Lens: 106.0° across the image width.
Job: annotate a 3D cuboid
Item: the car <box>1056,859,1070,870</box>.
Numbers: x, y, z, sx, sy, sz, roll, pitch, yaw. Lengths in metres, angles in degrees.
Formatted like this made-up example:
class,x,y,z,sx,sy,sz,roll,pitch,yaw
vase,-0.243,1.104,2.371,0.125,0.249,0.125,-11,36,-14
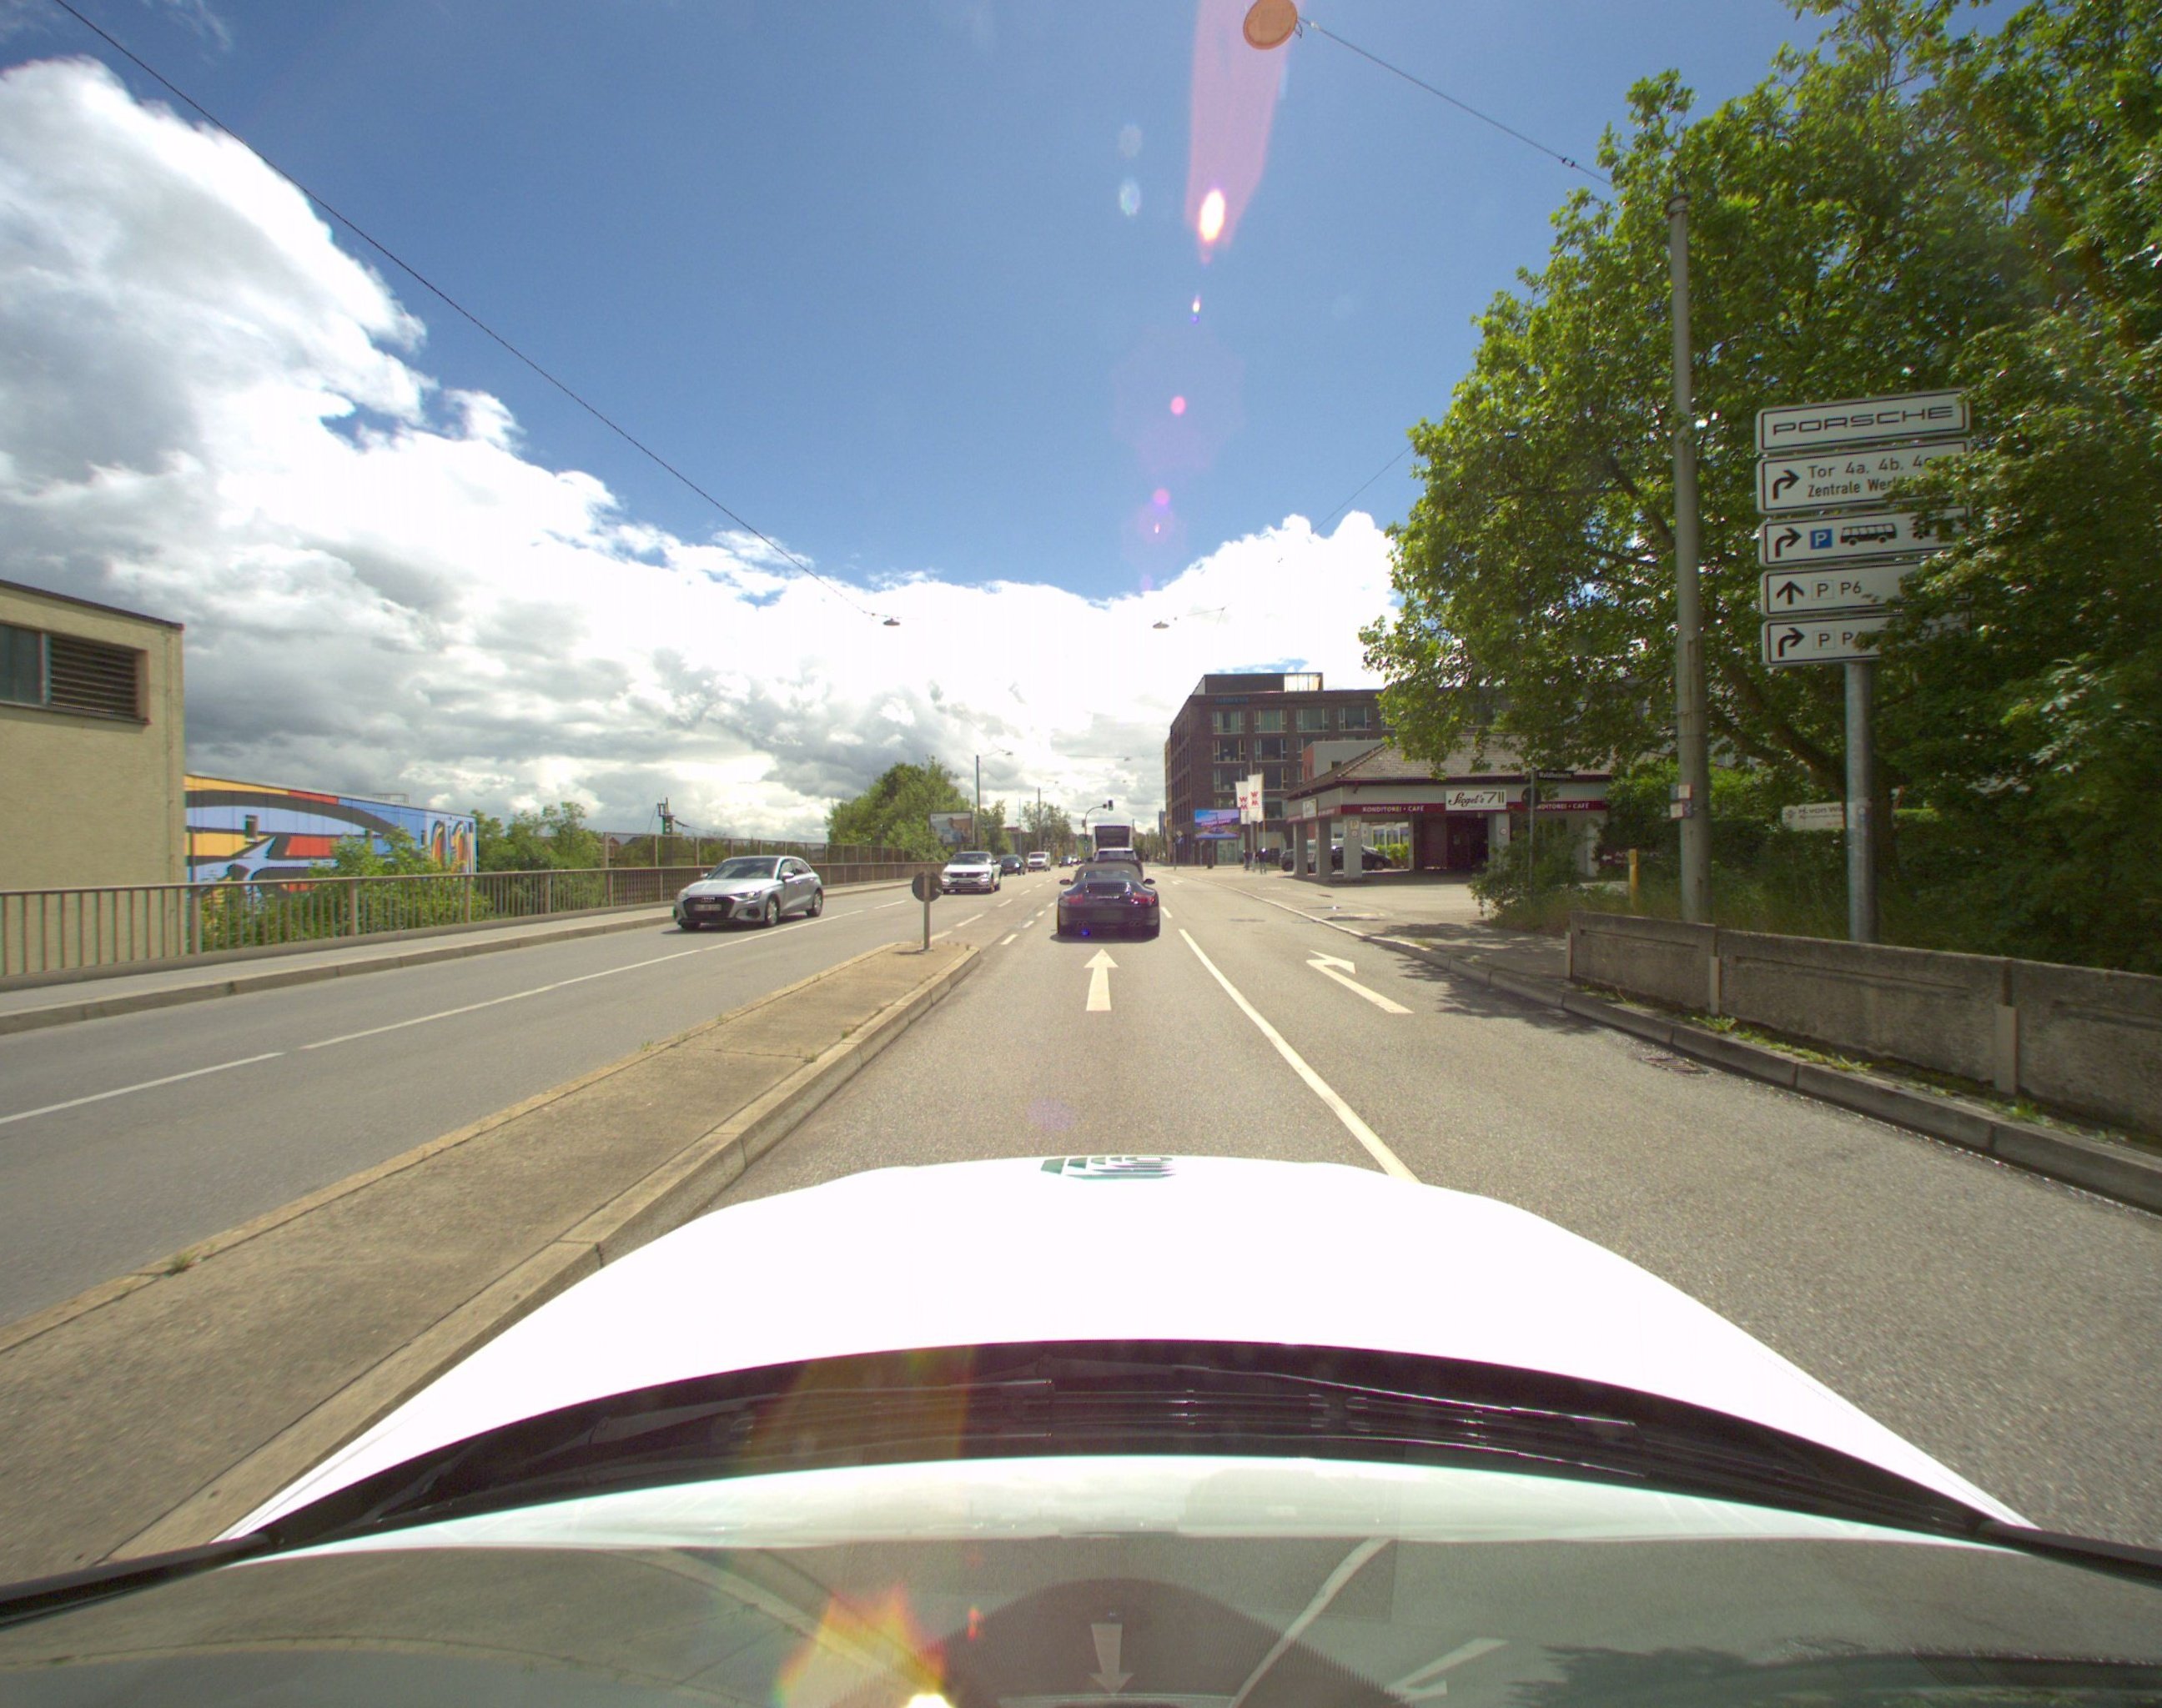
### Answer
class,x,y,z,sx,sy,sz,roll,pitch,yaw
car,-2.400,1.408,108.469,1.656,1.416,3.805,-1,0,2

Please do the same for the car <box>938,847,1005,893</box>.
class,x,y,z,sx,sy,sz,roll,pitch,yaw
car,-3.981,0.561,30.260,1.803,1.560,4.208,0,0,1

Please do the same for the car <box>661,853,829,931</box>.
class,x,y,z,sx,sy,sz,roll,pitch,yaw
car,-6.836,0.698,17.100,1.631,1.363,4.196,-1,0,2

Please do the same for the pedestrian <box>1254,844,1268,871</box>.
class,x,y,z,sx,sy,sz,roll,pitch,yaw
pedestrian,11.135,0.208,50.271,0.673,1.696,0.602,-1,0,27

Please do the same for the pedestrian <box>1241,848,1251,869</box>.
class,x,y,z,sx,sy,sz,roll,pitch,yaw
pedestrian,13.153,0.342,64.985,0.668,1.661,0.742,-1,-1,0

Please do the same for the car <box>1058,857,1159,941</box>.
class,x,y,z,sx,sy,sz,roll,pitch,yaw
car,0.520,0.784,15.913,1.713,1.275,4.090,0,2,1

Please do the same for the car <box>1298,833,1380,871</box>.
class,x,y,z,sx,sy,sz,roll,pitch,yaw
car,15.248,-0.093,48.305,4.213,1.936,2.031,-3,-1,3

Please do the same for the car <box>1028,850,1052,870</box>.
class,x,y,z,sx,sy,sz,roll,pitch,yaw
car,-4.129,0.575,82.165,1.894,1.887,5.315,-3,0,2

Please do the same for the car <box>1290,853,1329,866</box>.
class,x,y,z,sx,sy,sz,roll,pitch,yaw
car,25.495,0.594,91.015,3.915,1.431,1.474,-1,0,1

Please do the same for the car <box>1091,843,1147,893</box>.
class,x,y,z,sx,sy,sz,roll,pitch,yaw
car,1.312,0.432,29.560,1.873,1.594,4.230,0,2,1

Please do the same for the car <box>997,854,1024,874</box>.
class,x,y,z,sx,sy,sz,roll,pitch,yaw
car,-5.390,0.760,62.706,1.622,1.430,4.002,-1,0,2

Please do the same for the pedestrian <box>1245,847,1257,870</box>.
class,x,y,z,sx,sy,sz,roll,pitch,yaw
pedestrian,12.627,0.329,60.458,0.705,1.696,0.924,-1,0,-1

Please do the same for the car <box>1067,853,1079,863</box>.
class,x,y,z,sx,sy,sz,roll,pitch,yaw
car,-1.245,0.628,128.006,1.656,1.547,3.805,-1,0,2

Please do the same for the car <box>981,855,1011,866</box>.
class,x,y,z,sx,sy,sz,roll,pitch,yaw
car,-10.132,0.764,96.829,3.509,1.264,1.386,-1,0,-8

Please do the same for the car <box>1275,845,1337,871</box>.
class,x,y,z,sx,sy,sz,roll,pitch,yaw
car,15.555,0.261,56.399,3.744,1.440,1.720,-5,-1,2

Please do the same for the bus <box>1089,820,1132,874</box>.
class,x,y,z,sx,sy,sz,roll,pitch,yaw
bus,2.162,-0.689,56.883,2.678,3.254,12.070,1,3,3

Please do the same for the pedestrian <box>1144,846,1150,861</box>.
class,x,y,z,sx,sy,sz,roll,pitch,yaw
pedestrian,9.263,-0.054,114.604,0.664,2.014,0.769,-1,-1,0

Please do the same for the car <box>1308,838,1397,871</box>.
class,x,y,z,sx,sy,sz,roll,pitch,yaw
car,15.051,0.044,45.262,4.283,1.513,1.847,-4,-1,2
